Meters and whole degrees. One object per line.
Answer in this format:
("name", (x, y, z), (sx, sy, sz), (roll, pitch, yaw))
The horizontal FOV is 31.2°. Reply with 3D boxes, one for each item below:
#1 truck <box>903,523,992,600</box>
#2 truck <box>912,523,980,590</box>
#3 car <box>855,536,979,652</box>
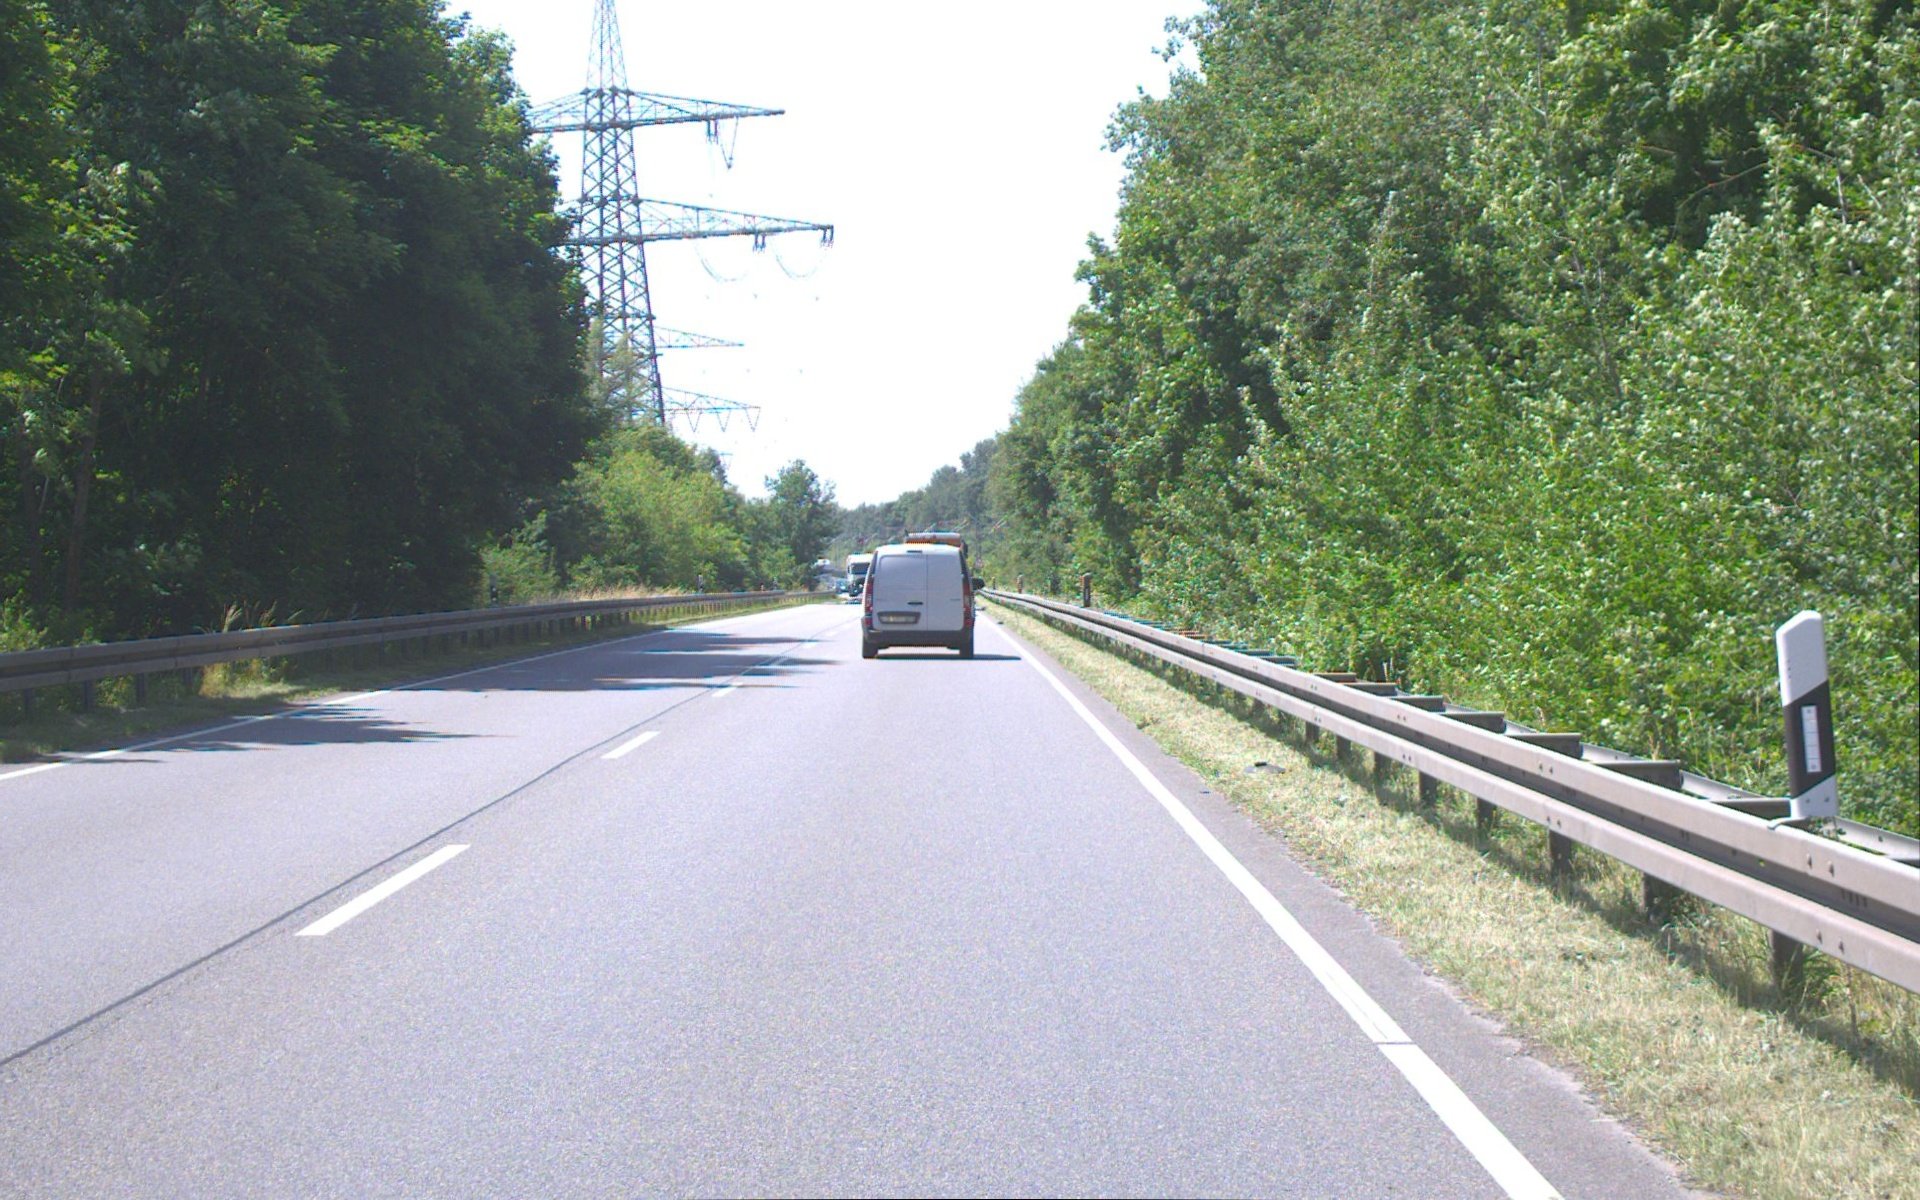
("truck", (-0.639, -1.749, 150.002), (3.296, 3.161, 14.406), (1, 1, -3))
("truck", (-0.938, -2.737, 208.889), (3.402, 3.841, 16.820), (1, 1, -3))
("car", (-0.682, -0.128, 54.575), (1.875, 1.735, 4.000), (1, 1, -1))
